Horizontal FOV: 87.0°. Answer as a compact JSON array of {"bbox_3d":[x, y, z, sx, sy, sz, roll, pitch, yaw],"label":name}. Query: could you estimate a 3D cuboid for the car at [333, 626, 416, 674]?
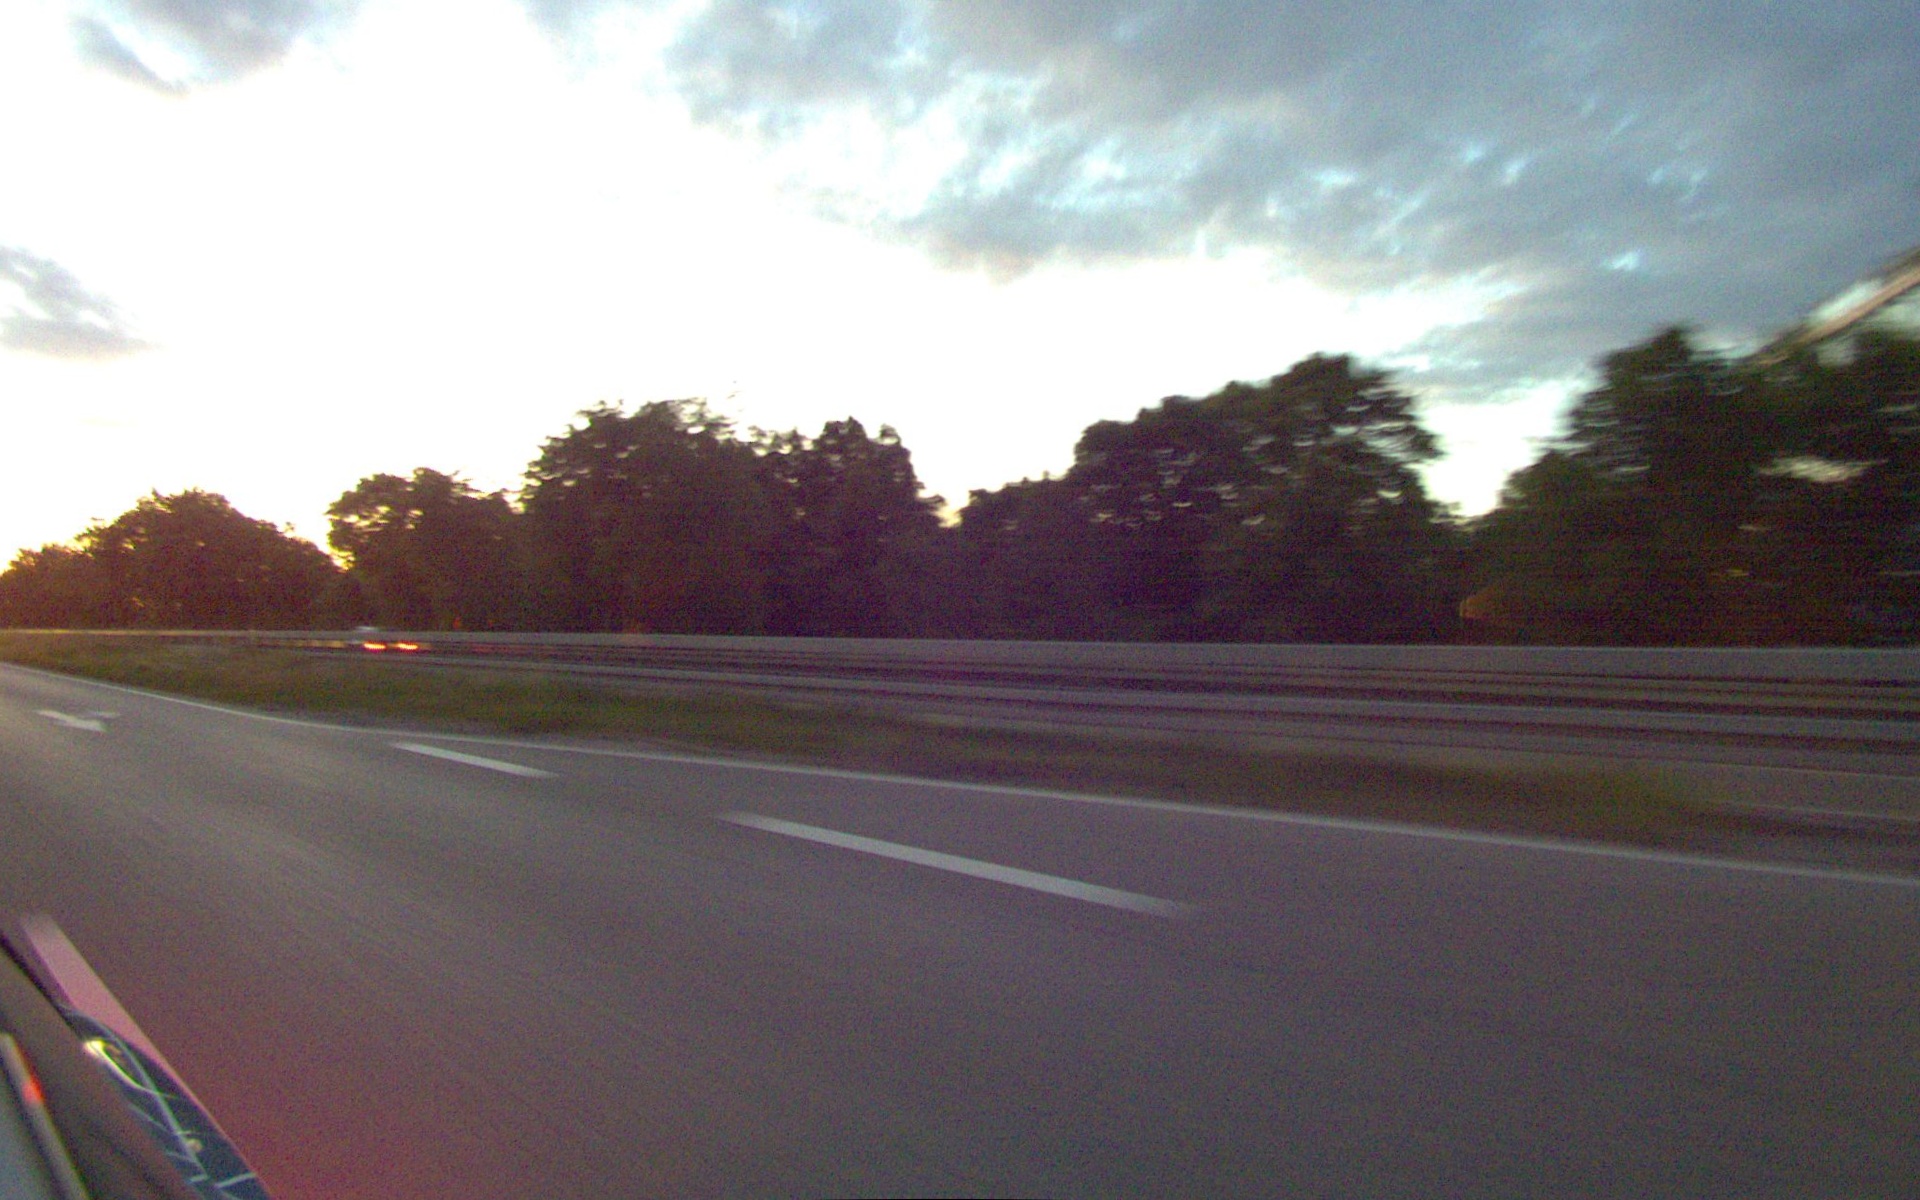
[{"bbox_3d":[-23.228,1.954,40.116,3.998,1.771,1.652,-2,-1,41],"label":"car"}]
